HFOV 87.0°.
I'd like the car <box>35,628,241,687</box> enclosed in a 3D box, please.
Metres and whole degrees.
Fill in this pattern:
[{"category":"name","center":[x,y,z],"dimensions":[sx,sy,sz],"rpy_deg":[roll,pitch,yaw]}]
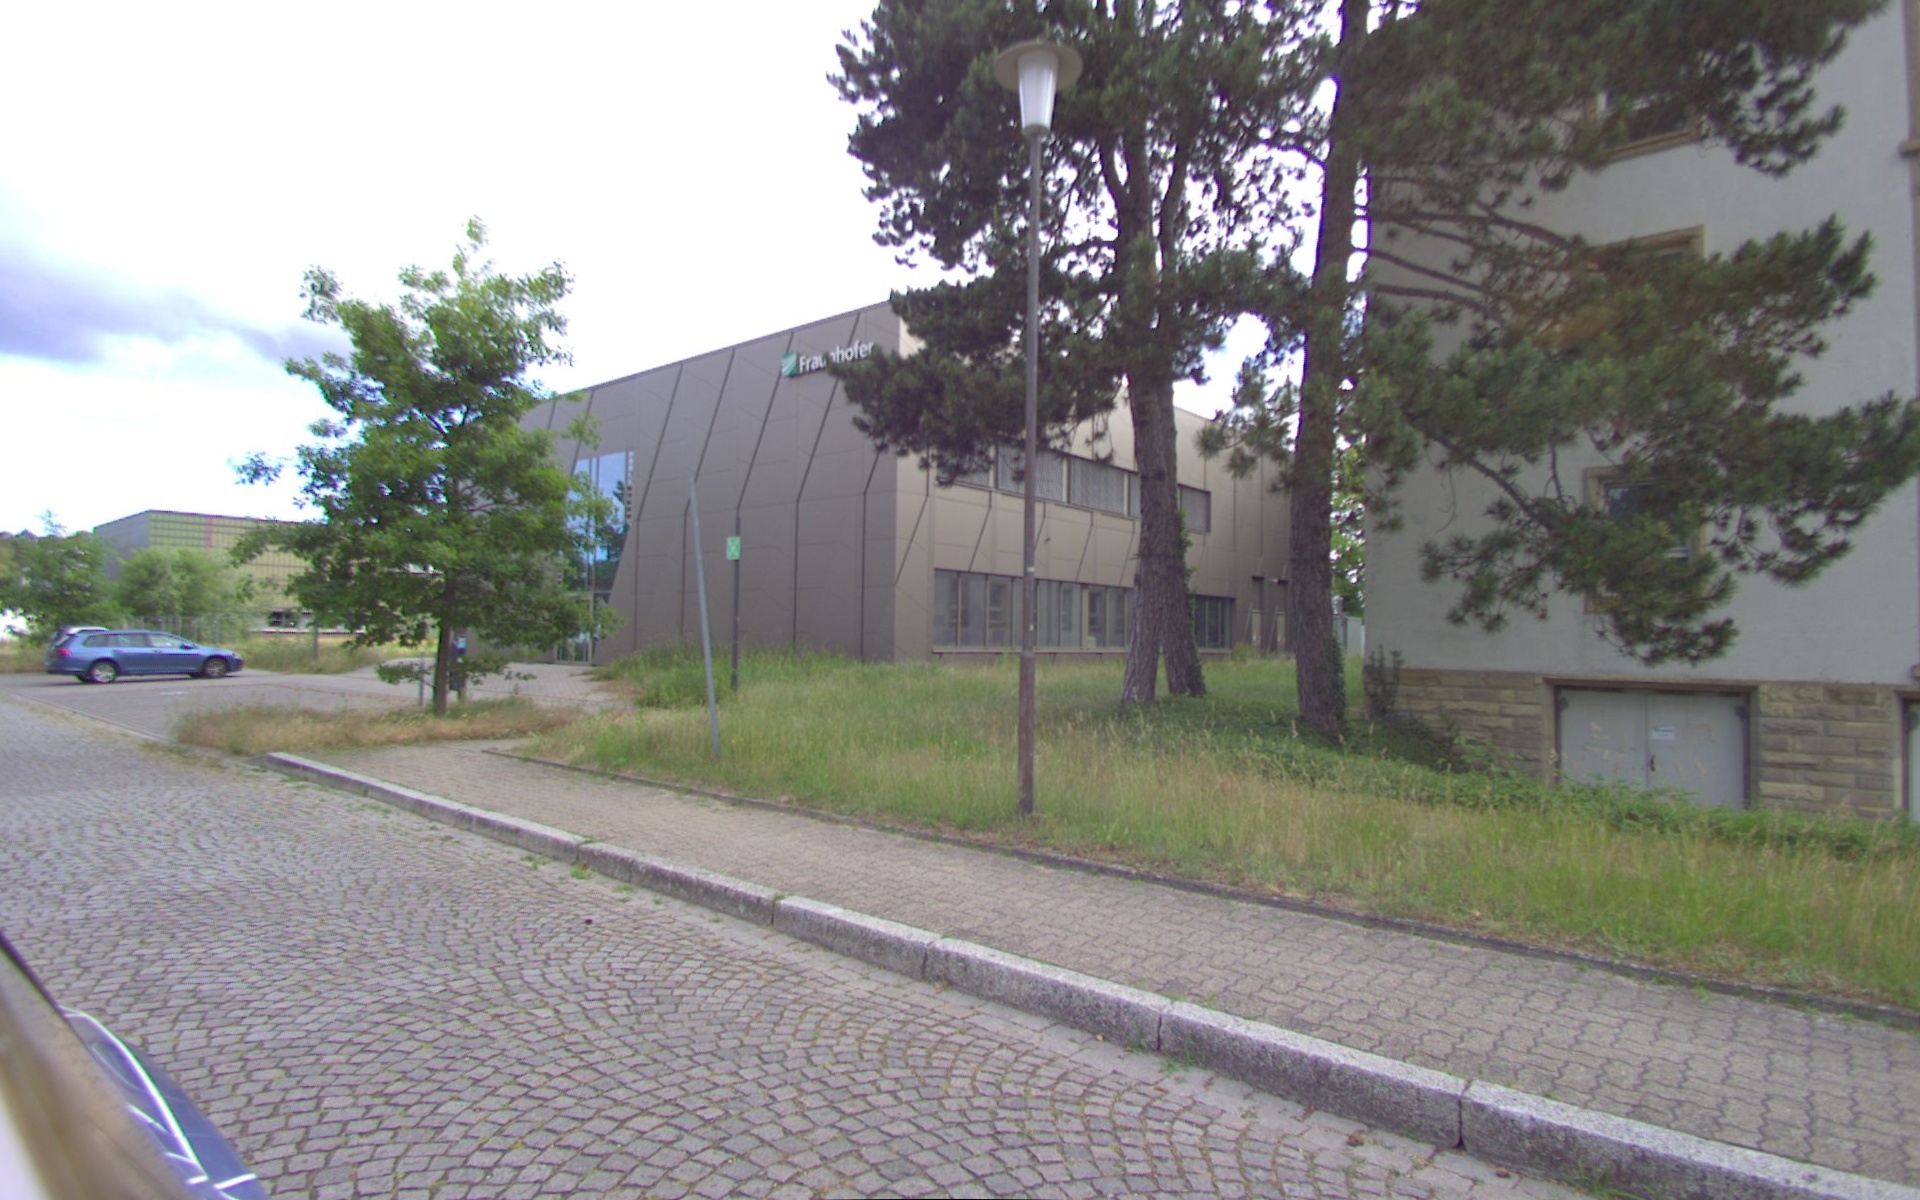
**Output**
[{"category":"car","center":[-23.598,1.585,29.214],"dimensions":[1.631,1.481,4.373],"rpy_deg":[-1,-1,38]}]

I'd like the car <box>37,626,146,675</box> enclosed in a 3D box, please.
[{"category":"car","center":[-29.172,1.667,34.028],"dimensions":[1.498,1.541,2.553],"rpy_deg":[-1,-1,38]}]
